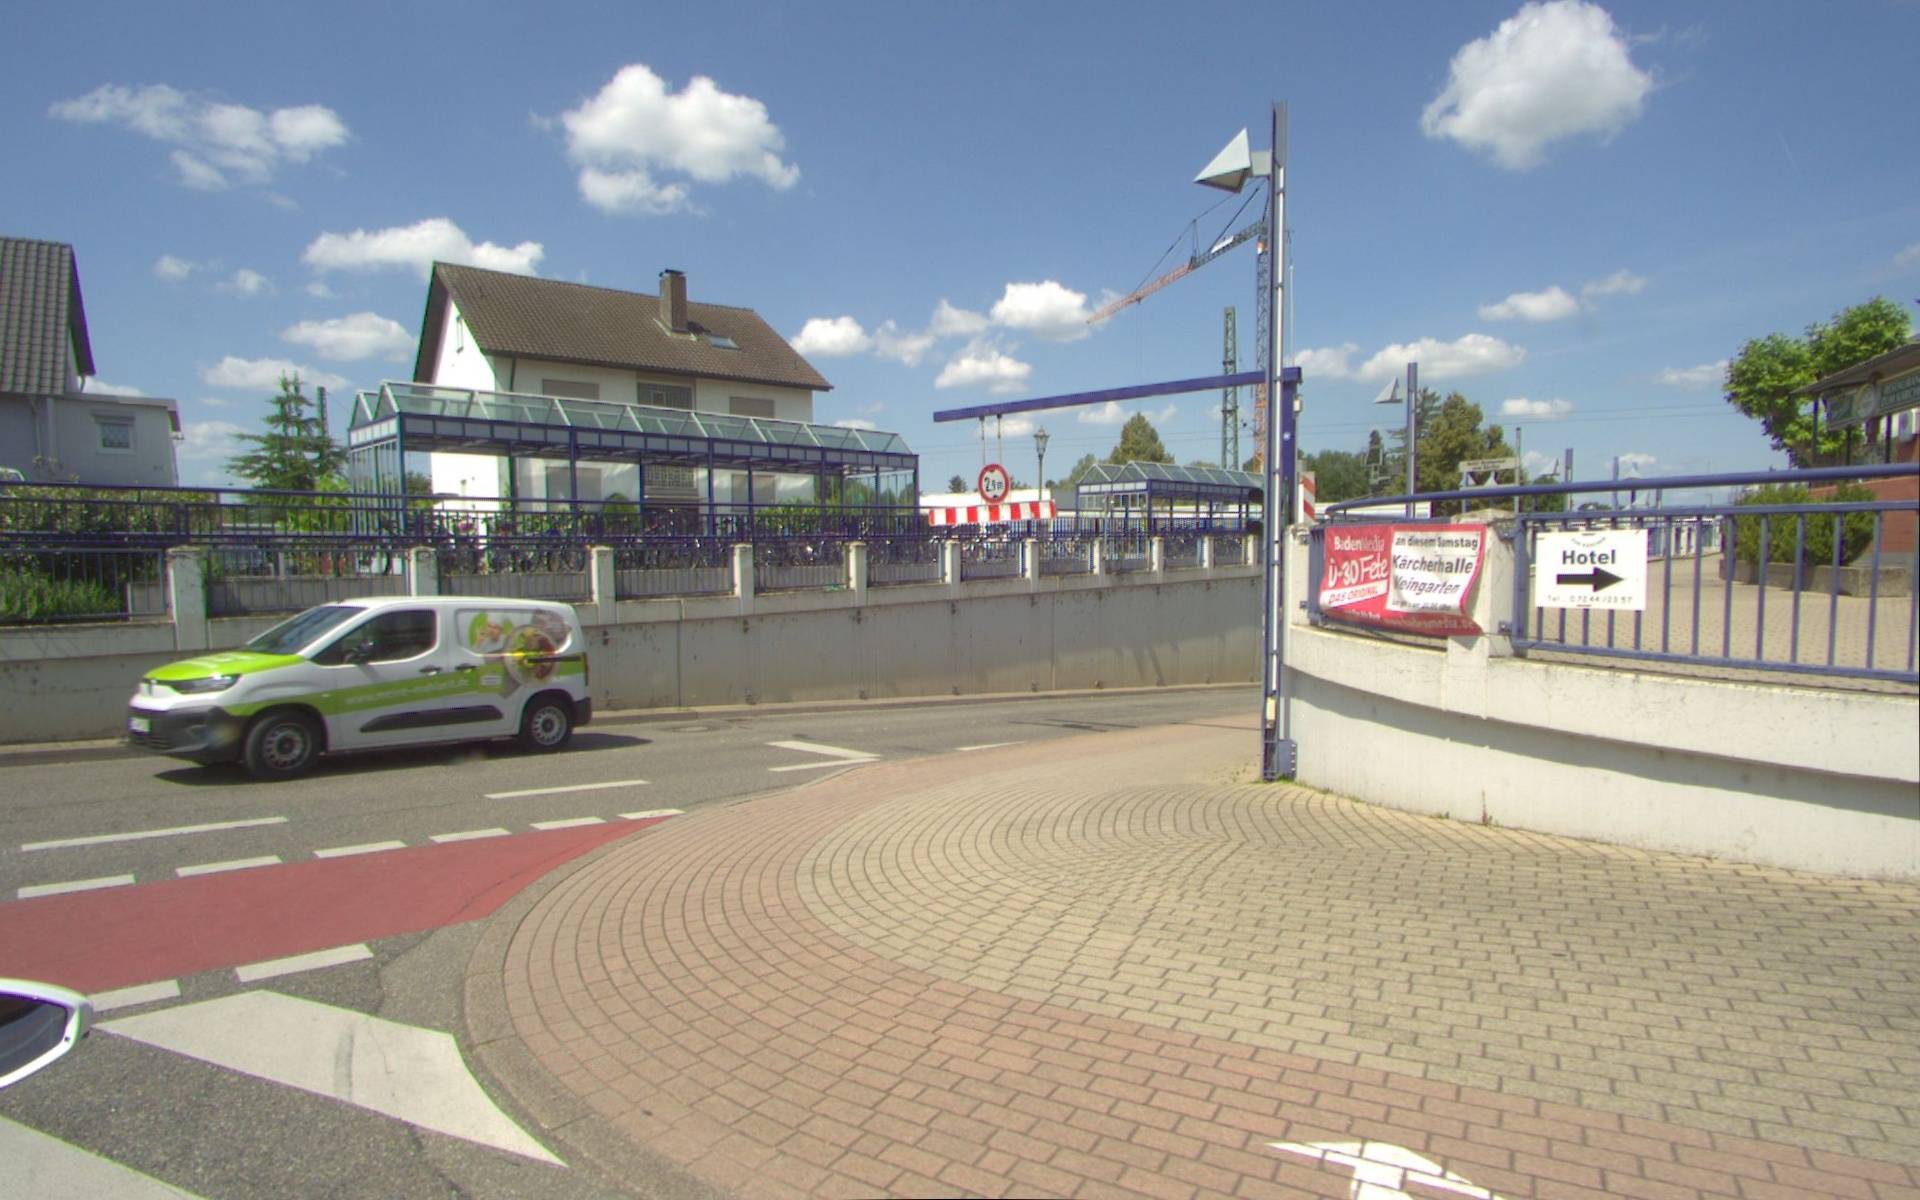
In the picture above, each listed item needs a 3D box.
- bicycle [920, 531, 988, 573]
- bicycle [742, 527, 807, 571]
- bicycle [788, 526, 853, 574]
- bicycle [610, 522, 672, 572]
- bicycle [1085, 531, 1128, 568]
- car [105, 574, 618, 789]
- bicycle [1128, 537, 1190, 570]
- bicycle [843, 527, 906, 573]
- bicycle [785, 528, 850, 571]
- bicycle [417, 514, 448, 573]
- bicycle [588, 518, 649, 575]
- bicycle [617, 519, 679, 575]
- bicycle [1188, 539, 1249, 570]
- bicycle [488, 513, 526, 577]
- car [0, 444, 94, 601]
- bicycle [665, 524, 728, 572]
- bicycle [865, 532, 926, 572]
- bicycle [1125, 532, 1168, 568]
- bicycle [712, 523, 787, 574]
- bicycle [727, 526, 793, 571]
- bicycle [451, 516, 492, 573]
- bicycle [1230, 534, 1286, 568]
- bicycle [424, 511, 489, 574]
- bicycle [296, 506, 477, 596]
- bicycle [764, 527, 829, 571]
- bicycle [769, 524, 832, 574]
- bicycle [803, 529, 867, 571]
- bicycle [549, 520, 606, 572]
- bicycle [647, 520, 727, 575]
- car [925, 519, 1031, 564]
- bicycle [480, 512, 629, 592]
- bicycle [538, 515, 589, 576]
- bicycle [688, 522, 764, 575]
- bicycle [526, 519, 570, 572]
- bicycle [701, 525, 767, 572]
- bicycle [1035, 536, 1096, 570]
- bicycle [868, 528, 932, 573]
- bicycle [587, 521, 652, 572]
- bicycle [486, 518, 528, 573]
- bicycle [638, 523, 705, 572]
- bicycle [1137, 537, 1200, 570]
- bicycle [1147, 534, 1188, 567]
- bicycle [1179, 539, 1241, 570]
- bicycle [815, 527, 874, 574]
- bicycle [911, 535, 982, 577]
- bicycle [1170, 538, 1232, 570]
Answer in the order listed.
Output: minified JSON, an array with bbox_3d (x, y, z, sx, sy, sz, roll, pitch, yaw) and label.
[{"bbox_3d":[-0.170,-1.198,24.987,0.539,1.008,2.020,-2,3,-41],"label":"bicycle"},{"bbox_3d":[-4.389,-1.193,23.578,0.515,1.009,1.945,-2,4,-44],"label":"bicycle"},{"bbox_3d":[-3.085,-1.094,22.012,0.511,1.008,2.023,-2,3,-37],"label":"bicycle"},{"bbox_3d":[-6.726,-1.105,21.080,0.411,1.009,1.945,-3,4,-44],"label":"bicycle"},{"bbox_3d":[4.801,-1.658,32.941,0.381,1.174,1.589,-2,3,-36],"label":"bicycle"},{"bbox_3d":[-6.317,0.787,11.137,1.793,1.879,4.533,1,-1,35],"label":"car"},{"bbox_3d":[6.275,-1.468,31.682,2.003,1.009,0.434,2,4,42],"label":"bicycle"},{"bbox_3d":[-1.978,-1.125,22.923,0.510,1.008,2.024,-2,3,-35],"label":"bicycle"},{"bbox_3d":[-3.489,-1.220,24.363,0.515,1.009,1.945,-2,4,-44],"label":"bicycle"},{"bbox_3d":[-9.466,-0.995,17.977,0.450,1.008,1.878,-1,3,-28],"label":"bicycle"},{"bbox_3d":[-6.380,-0.976,18.627,0.431,1.008,2.263,-2,3,-36],"label":"bicycle"},{"bbox_3d":[-5.944,-0.989,19.009,0.431,1.008,2.263,-2,3,-36],"label":"bicycle"},{"bbox_3d":[8.760,-1.549,34.041,2.003,1.009,0.507,2,4,42],"label":"bicycle"},{"bbox_3d":[-7.642,-0.913,16.858,0.430,1.008,2.091,-1,3,-28],"label":"bicycle"},{"bbox_3d":[-12.902,-0.939,13.259,1.978,1.820,4.162,2,-1,-39],"label":"car"},{"bbox_3d":[-5.844,-1.143,22.157,0.515,1.009,1.783,-2,4,-44],"label":"bicycle"},{"bbox_3d":[-1.692,-1.240,25.936,0.539,1.008,2.022,-2,3,-38],"label":"bicycle"},{"bbox_3d":[6.318,-1.695,34.027,0.381,1.174,1.589,-2,3,-36],"label":"bicycle"},{"bbox_3d":[-4.431,-1.057,20.929,0.528,1.008,2.167,-2,3,-42],"label":"bicycle"},{"bbox_3d":[-4.611,-1.171,23.000,0.515,1.009,1.945,-2,4,-44],"label":"bicycle"},{"bbox_3d":[-9.061,-1.016,18.554,0.369,1.008,1.951,-2,3,-35],"label":"bicycle"},{"bbox_3d":[10.729,-1.758,36.079,1.901,1.174,0.507,3,4,44],"label":"bicycle"},{"bbox_3d":[-8.422,-0.944,16.717,0.330,1.009,2.054,-3,4,-45],"label":"bicycle"},{"bbox_3d":[-7.716,-0.655,13.571,0.329,1.141,2.101,3,4,44],"label":"bicycle"},{"bbox_3d":[-3.926,-1.206,23.974,0.515,1.009,1.945,-2,4,-44],"label":"bicycle"},{"bbox_3d":[-3.400,-1.066,21.246,0.572,1.008,2.175,-1,3,-30],"label":"bicycle"},{"bbox_3d":[-3.098,-1.233,24.747,0.515,1.009,1.945,-2,4,-44],"label":"bicycle"},{"bbox_3d":[-7.769,-1.077,20.271,0.423,1.009,1.947,-2,3,-41],"label":"bicycle"},{"bbox_3d":[-5.333,-1.005,19.470,0.528,1.008,2.259,-2,3,-42],"label":"bicycle"},{"bbox_3d":[0.678,-2.309,40.282,3.953,1.701,1.983,2,3,42],"label":"car"},{"bbox_3d":[-6.117,-0.712,15.214,0.388,1.141,2.101,3,4,44],"label":"bicycle"},{"bbox_3d":[-7.019,-0.942,17.686,0.431,1.008,2.088,-2,3,-32],"label":"bicycle"},{"bbox_3d":[-4.769,-1.034,20.287,0.528,1.008,2.167,-2,3,-42],"label":"bicycle"},{"bbox_3d":[-8.127,-1.058,19.720,0.369,1.008,1.951,-2,3,-35],"label":"bicycle"},{"bbox_3d":[-5.080,-1.151,22.434,0.515,1.009,1.945,-2,4,-44],"label":"bicycle"},{"bbox_3d":[3.290,-1.468,31.418,2.003,1.009,0.507,2,4,42],"label":"bicycle"},{"bbox_3d":[-1.424,-1.146,23.521,0.538,1.008,2.024,-2,3,-35],"label":"bicycle"},{"bbox_3d":[-7.074,-1.094,20.758,0.470,1.009,1.945,-3,4,-44],"label":"bicycle"},{"bbox_3d":[-8.783,-1.046,19.364,0.369,1.008,1.951,-2,3,-35],"label":"bicycle"},{"bbox_3d":[-6.237,-1.123,21.599,0.515,1.009,1.945,-2,4,-44],"label":"bicycle"},{"bbox_3d":[6.677,-1.484,32.147,2.003,1.009,0.507,2,4,42],"label":"bicycle"},{"bbox_3d":[7.355,-1.750,35.562,0.381,1.174,1.589,-2,3,-36],"label":"bicycle"},{"bbox_3d":[8.386,-1.536,33.660,2.003,1.009,0.507,2,4,42],"label":"bicycle"},{"bbox_3d":[-2.612,-1.112,22.526,0.510,1.008,2.026,-1,3,-31],"label":"bicycle"},{"bbox_3d":[-0.359,-1.101,25.056,0.433,1.009,2.139,-3,4,-45],"label":"bicycle"},{"bbox_3d":[7.980,-1.521,33.228,2.003,1.009,0.507,2,4,42],"label":"bicycle"}]
